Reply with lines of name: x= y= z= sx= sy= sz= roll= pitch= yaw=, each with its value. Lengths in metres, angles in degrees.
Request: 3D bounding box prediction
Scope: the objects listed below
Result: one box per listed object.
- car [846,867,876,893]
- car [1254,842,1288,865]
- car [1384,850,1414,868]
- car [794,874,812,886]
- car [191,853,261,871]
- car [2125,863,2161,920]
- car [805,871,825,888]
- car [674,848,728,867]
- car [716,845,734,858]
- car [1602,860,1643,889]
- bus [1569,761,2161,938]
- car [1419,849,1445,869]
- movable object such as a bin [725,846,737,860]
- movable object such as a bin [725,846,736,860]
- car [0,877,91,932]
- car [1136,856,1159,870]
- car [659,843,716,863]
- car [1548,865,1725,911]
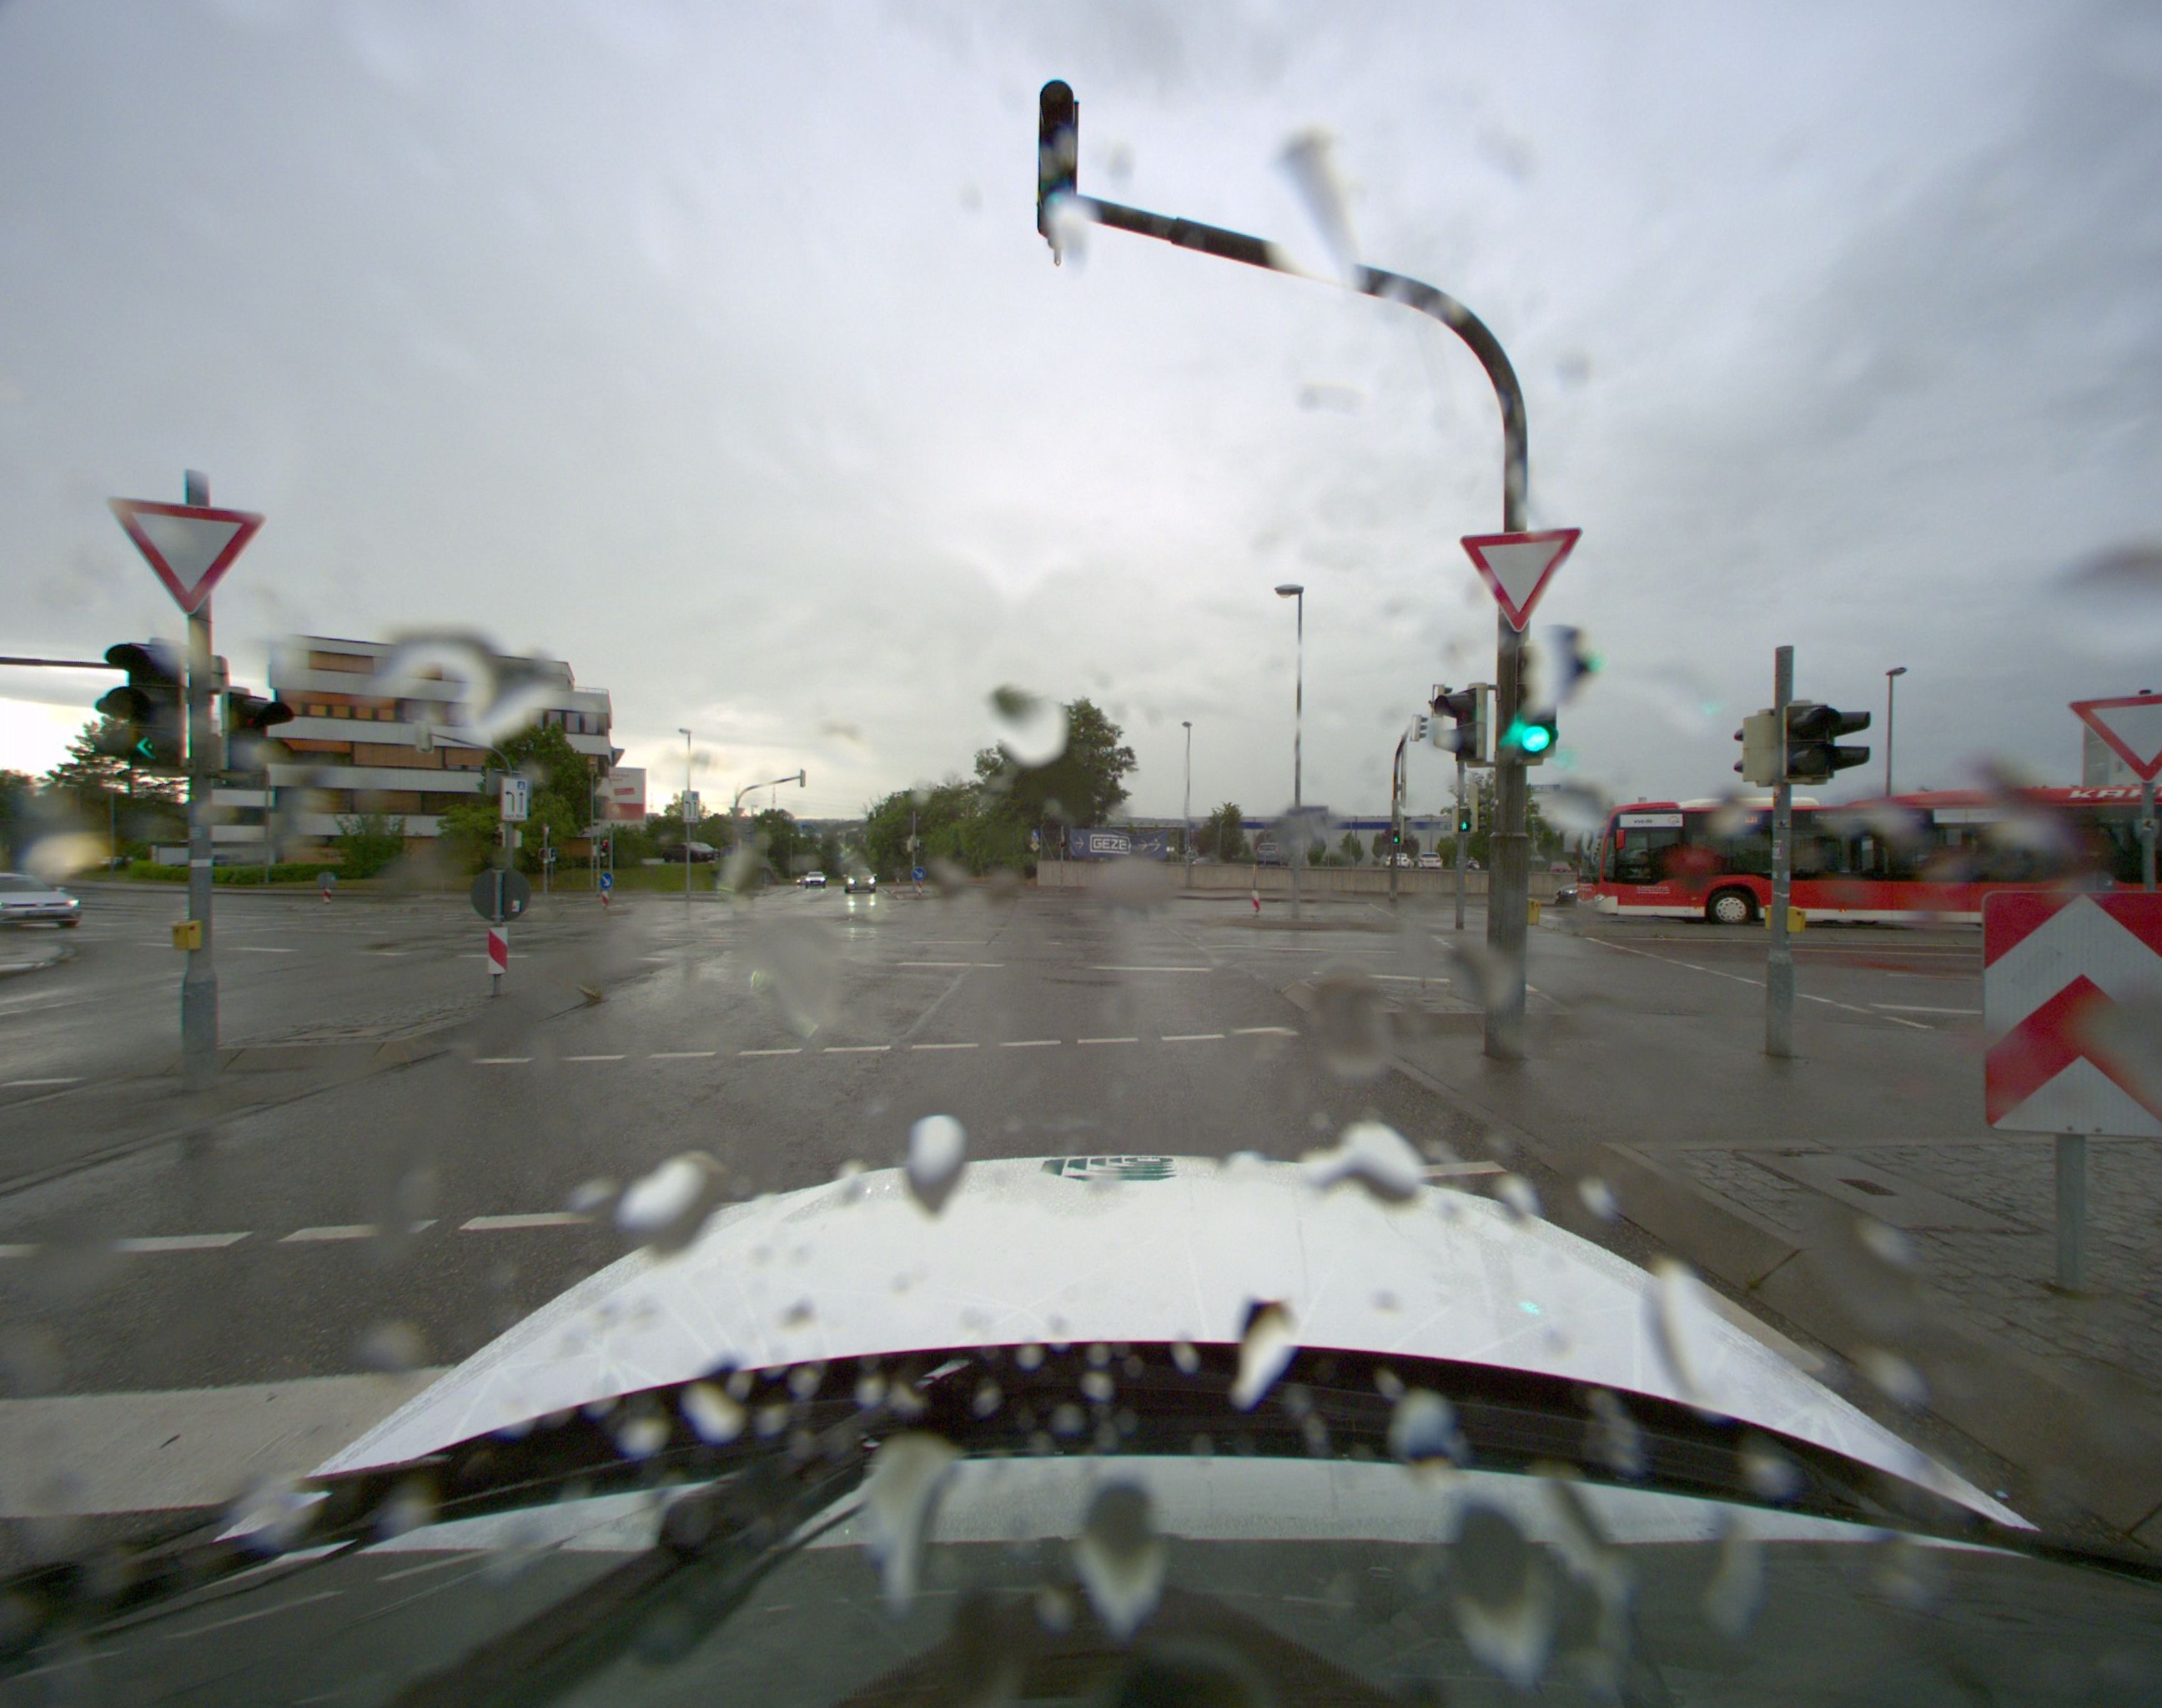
car: x=-13.370 y=1.580 z=49.438 sx=1.664 sy=1.495 sz=3.978 roll=0 pitch=-1 yaw=-16
car: x=13.370 y=0.010 z=57.137 sx=1.727 sy=1.553 sz=3.550 roll=-1 pitch=-1 yaw=23
car: x=26.492 y=0.398 z=67.733 sx=1.800 sy=1.434 sz=4.128 roll=-1 pitch=-1 yaw=28
car: x=-39.681 y=3.696 z=116.202 sx=1.908 sy=1.456 sz=3.966 roll=0 pitch=0 yaw=-26
car: x=-70.122 y=0.612 z=66.883 sx=3.779 sy=1.399 sz=1.977 roll=0 pitch=0 yaw=-40
car: x=31.338 y=1.012 z=21.507 sx=4.344 sy=1.538 sz=1.834 roll=0 pitch=0 yaw=18
car: x=-25.440 y=2.414 z=77.982 sx=1.723 sy=1.495 sz=3.978 roll=0 pitch=-1 yaw=-16
car: x=-33.446 y=0.295 z=71.679 sx=3.958 sy=1.586 sz=1.909 roll=0 pitch=-3 yaw=14
car: x=-42.545 y=-0.279 z=97.285 sx=1.836 sy=1.442 sz=3.967 roll=1 pitch=-3 yaw=-25
car: x=38.050 y=1.421 z=57.281 sx=1.727 sy=2.014 sz=3.844 roll=-1 pitch=-1 yaw=23
bus: x=18.744 y=-0.177 z=19.074 sx=12.152 sy=3.576 sz=3.001 roll=1 pitch=0 yaw=19
car: x=28.920 y=0.415 z=67.043 sx=1.841 sy=1.526 sz=4.127 roll=-1 pitch=-1 yaw=25
movable object such as a bin: x=-37.739 y=-0.080 z=87.742 sx=1.089 sy=1.437 sz=1.434 roll=2 pitch=-3 yaw=-25
movable object such as a bin: x=-38.340 y=-0.125 z=89.071 sx=1.089 sy=1.437 sz=1.434 roll=2 pitch=-3 yaw=-25
car: x=-28.783 y=1.304 z=21.618 sx=4.479 sy=1.363 sz=1.771 roll=-1 pitch=-1 yaw=20
car: x=7.789 y=1.015 z=95.749 sx=1.651 sy=1.606 sz=3.550 roll=-1 pitch=-1 yaw=23
car: x=-33.408 y=-0.079 z=69.207 sx=3.962 sy=1.586 sz=1.907 roll=0 pitch=-3 yaw=10
car: x=17.566 y=1.037 z=26.010 sx=4.344 sy=1.354 sz=1.834 roll=0 pitch=0 yaw=18
